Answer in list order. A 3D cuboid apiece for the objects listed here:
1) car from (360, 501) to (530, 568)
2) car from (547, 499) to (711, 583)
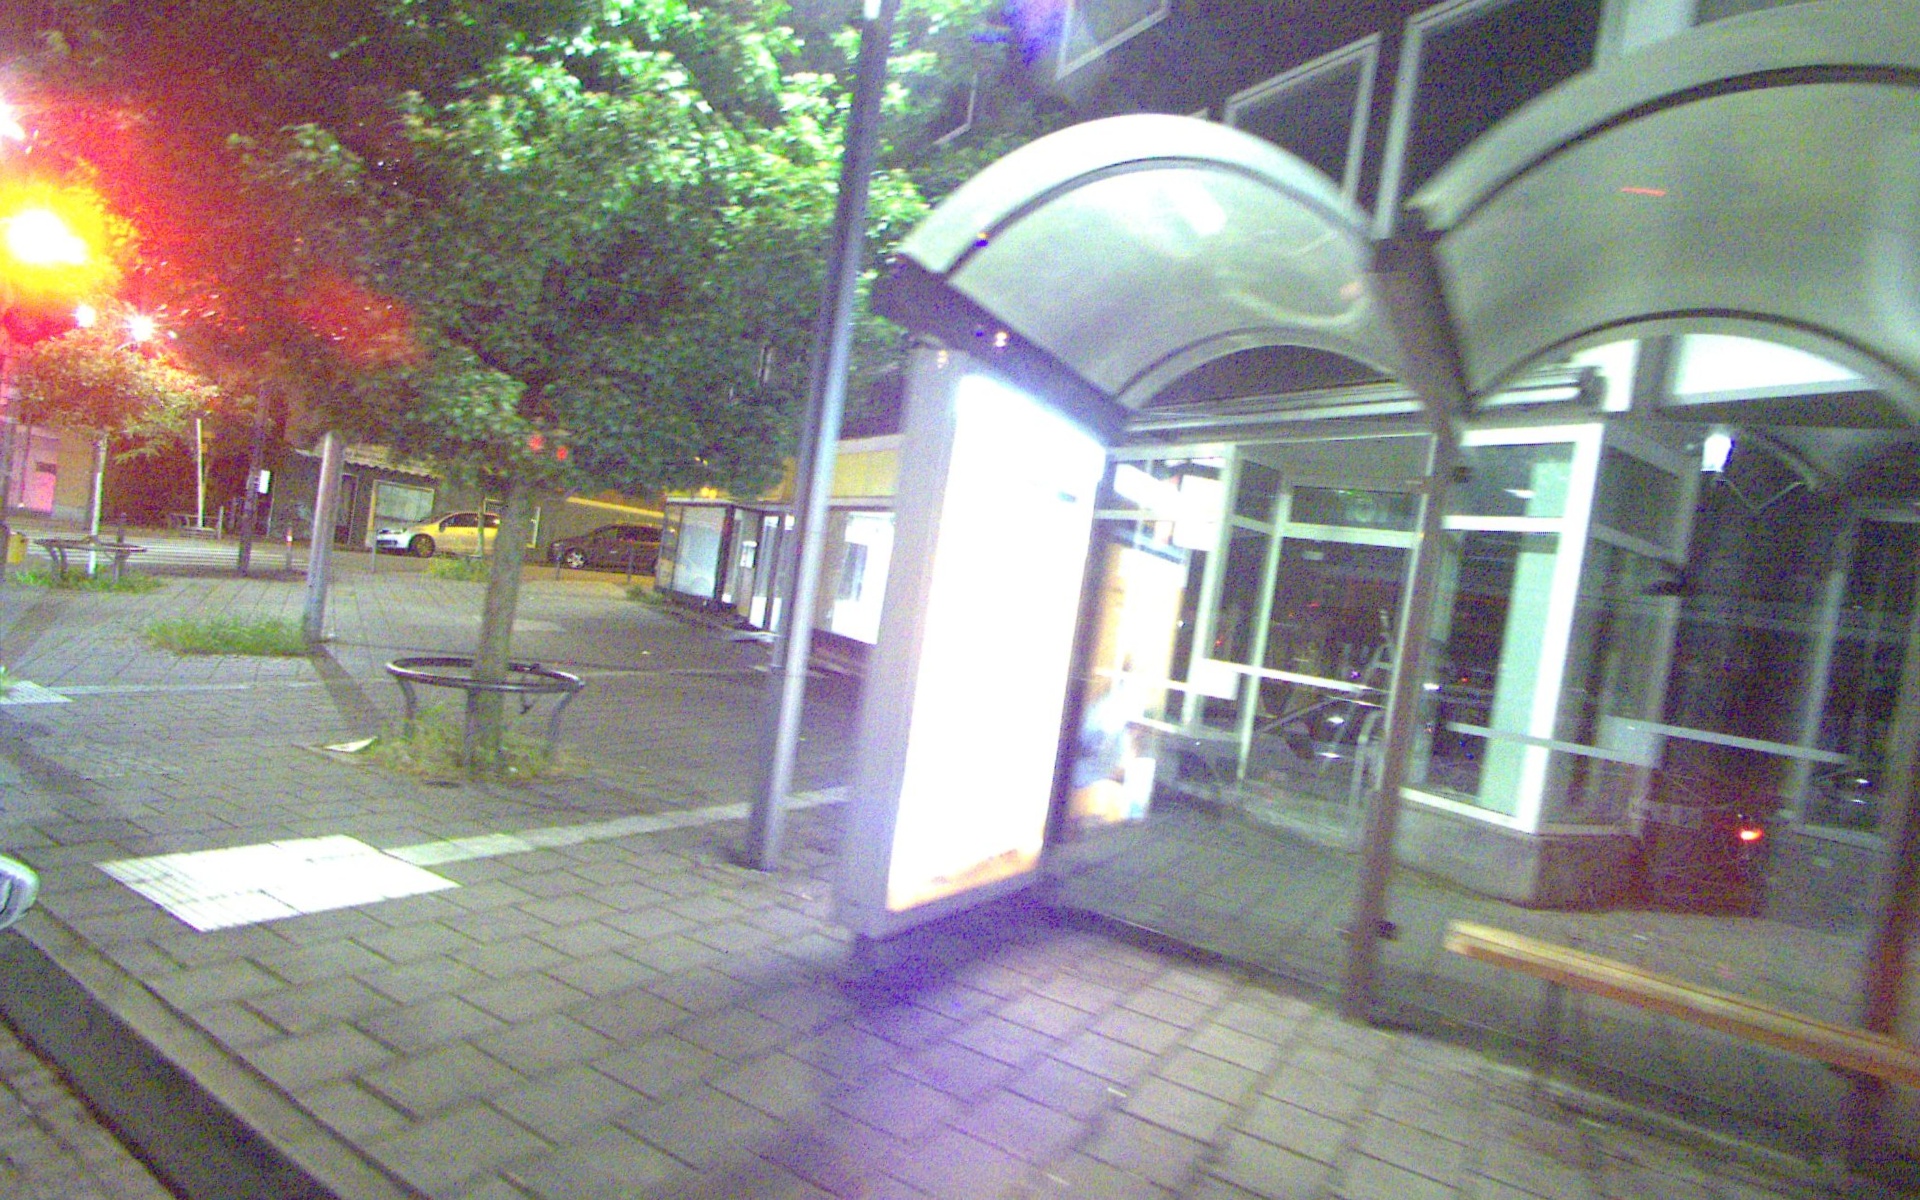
[{"bbox_3d":[-15.112,-1.890,29.672,1.798,1.472,4.036,8,2,38],"label":"car"},{"bbox_3d":[-10.800,-1.849,32.821,4.783,1.932,2.148,8,-2,-23],"label":"car"}]
